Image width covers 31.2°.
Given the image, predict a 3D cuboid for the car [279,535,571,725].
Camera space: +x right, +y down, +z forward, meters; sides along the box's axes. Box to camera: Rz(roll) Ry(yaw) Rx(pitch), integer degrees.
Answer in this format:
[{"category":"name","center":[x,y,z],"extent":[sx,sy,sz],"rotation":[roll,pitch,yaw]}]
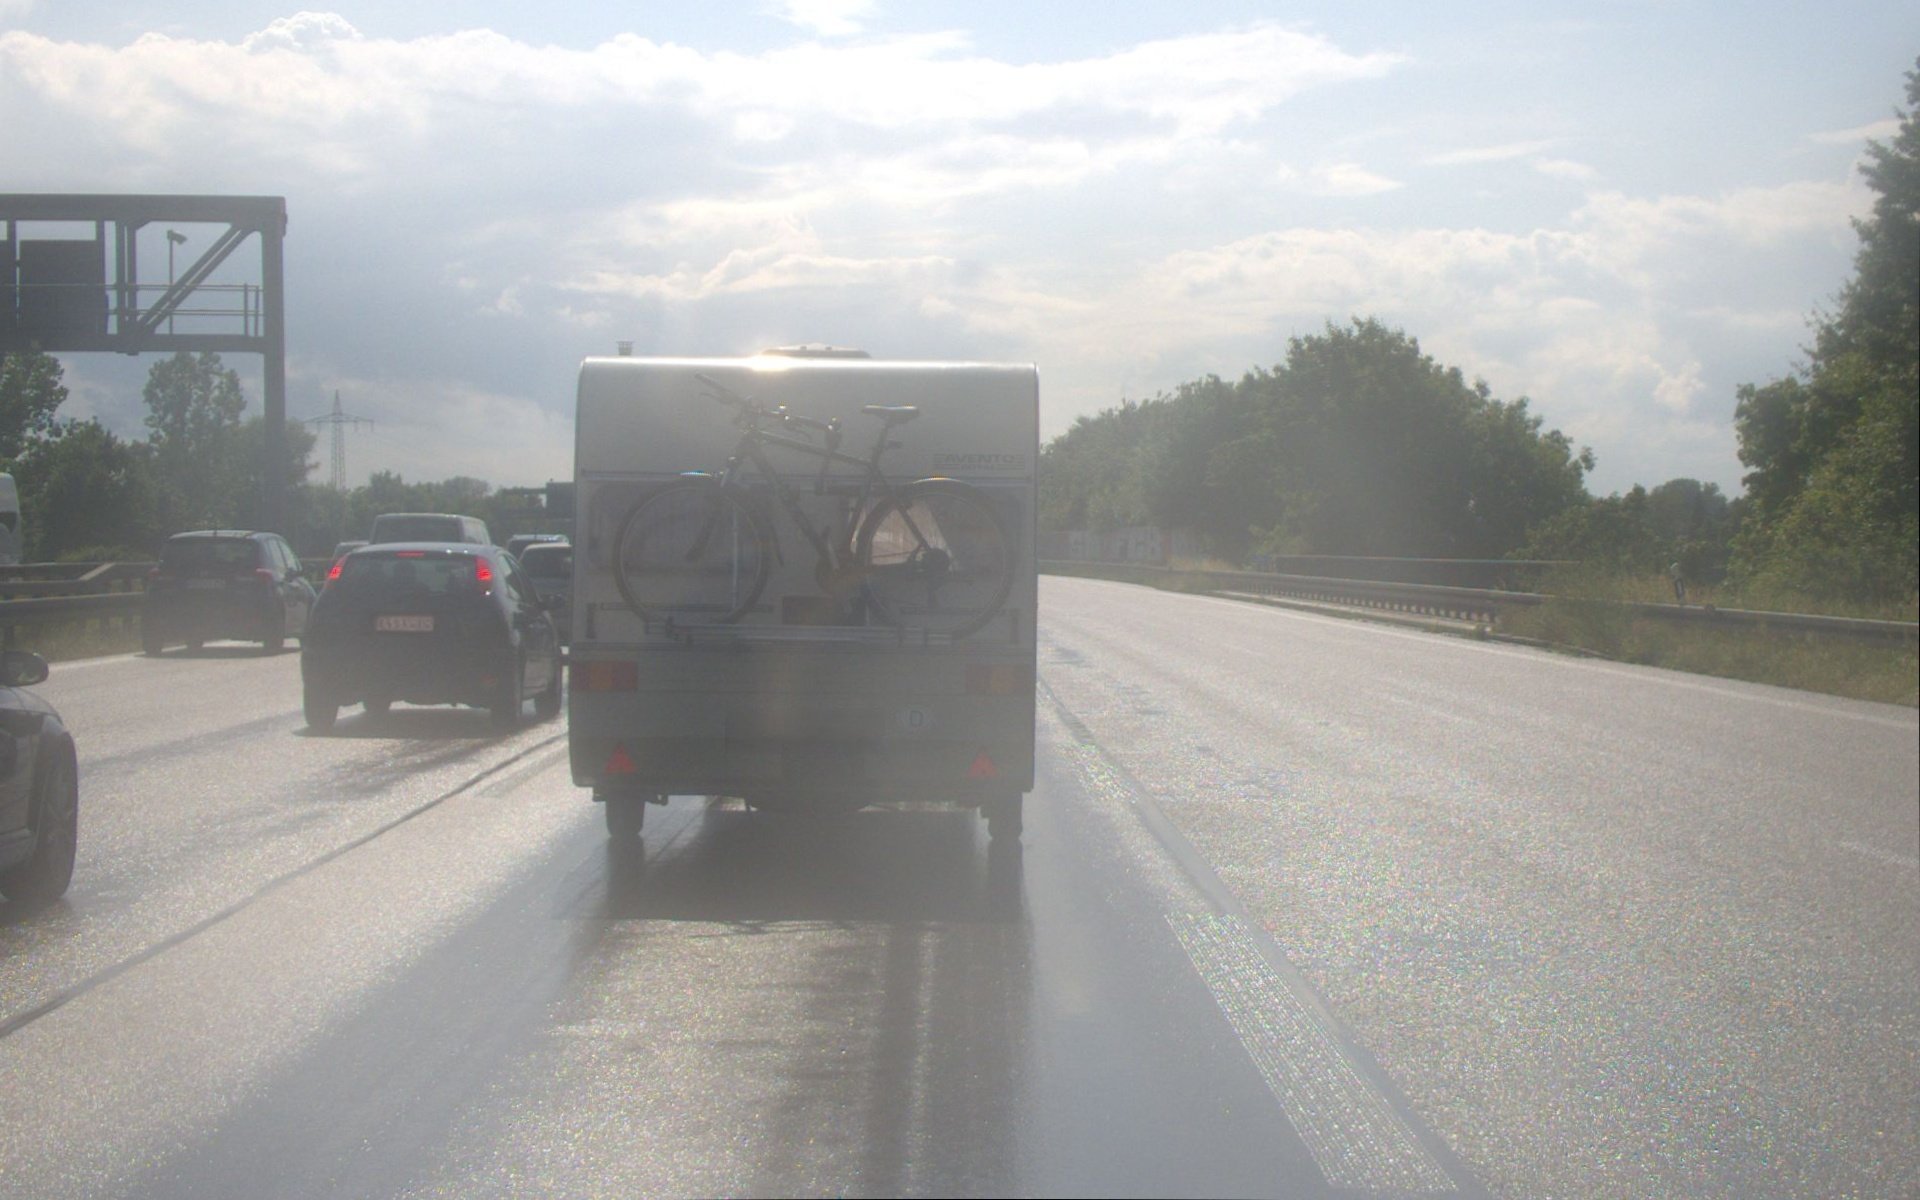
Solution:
[{"category":"car","center":[-4.340,0.195,28.438],"extent":[1.758,1.438,4.000],"rotation":[0,1,0]}]

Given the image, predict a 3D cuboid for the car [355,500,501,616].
[{"category":"car","center":[-9.296,-0.757,60.404],"extent":[1.848,1.927,5.017],"rotation":[0,1,-1]}]

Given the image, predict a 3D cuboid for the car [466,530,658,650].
[{"category":"car","center":[-5.031,-0.157,43.926],"extent":[1.987,1.453,3.826],"rotation":[0,1,0]}]

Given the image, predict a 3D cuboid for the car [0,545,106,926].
[{"category":"car","center":[-4.492,0.519,12.583],"extent":[1.750,1.428,4.054],"rotation":[0,1,0]}]

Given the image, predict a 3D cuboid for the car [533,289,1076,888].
[{"category":"car","center":[-0.691,-0.078,17.484],"extent":[2.410,2.665,4.000],"rotation":[1,1,0]}]

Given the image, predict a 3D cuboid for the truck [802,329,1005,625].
[{"category":"truck","center":[-1.014,-2.015,59.197],"extent":[3.146,4.610,10.737],"rotation":[0,1,-1]}]

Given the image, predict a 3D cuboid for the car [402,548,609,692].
[{"category":"car","center":[-5.017,0.186,38.409],"extent":[1.863,1.503,4.000],"rotation":[0,1,-1]}]

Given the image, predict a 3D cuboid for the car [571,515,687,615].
[{"category":"car","center":[-5.683,-0.619,59.344],"extent":[1.689,1.656,3.641],"rotation":[0,1,-1]}]

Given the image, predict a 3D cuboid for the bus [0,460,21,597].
[{"category":"bus","center":[-24.285,-1.649,78.351],"extent":[2.939,3.275,12.213],"rotation":[0,1,-3]}]

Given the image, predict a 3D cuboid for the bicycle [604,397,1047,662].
[{"category":"bicycle","center":[-0.587,-0.314,15.279],"extent":[1.934,1.137,0.384],"rotation":[1,1,1]}]

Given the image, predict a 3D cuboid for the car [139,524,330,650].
[{"category":"car","center":[-9.531,-0.203,45.410],"extent":[1.783,1.573,3.916],"rotation":[0,1,-2]}]
